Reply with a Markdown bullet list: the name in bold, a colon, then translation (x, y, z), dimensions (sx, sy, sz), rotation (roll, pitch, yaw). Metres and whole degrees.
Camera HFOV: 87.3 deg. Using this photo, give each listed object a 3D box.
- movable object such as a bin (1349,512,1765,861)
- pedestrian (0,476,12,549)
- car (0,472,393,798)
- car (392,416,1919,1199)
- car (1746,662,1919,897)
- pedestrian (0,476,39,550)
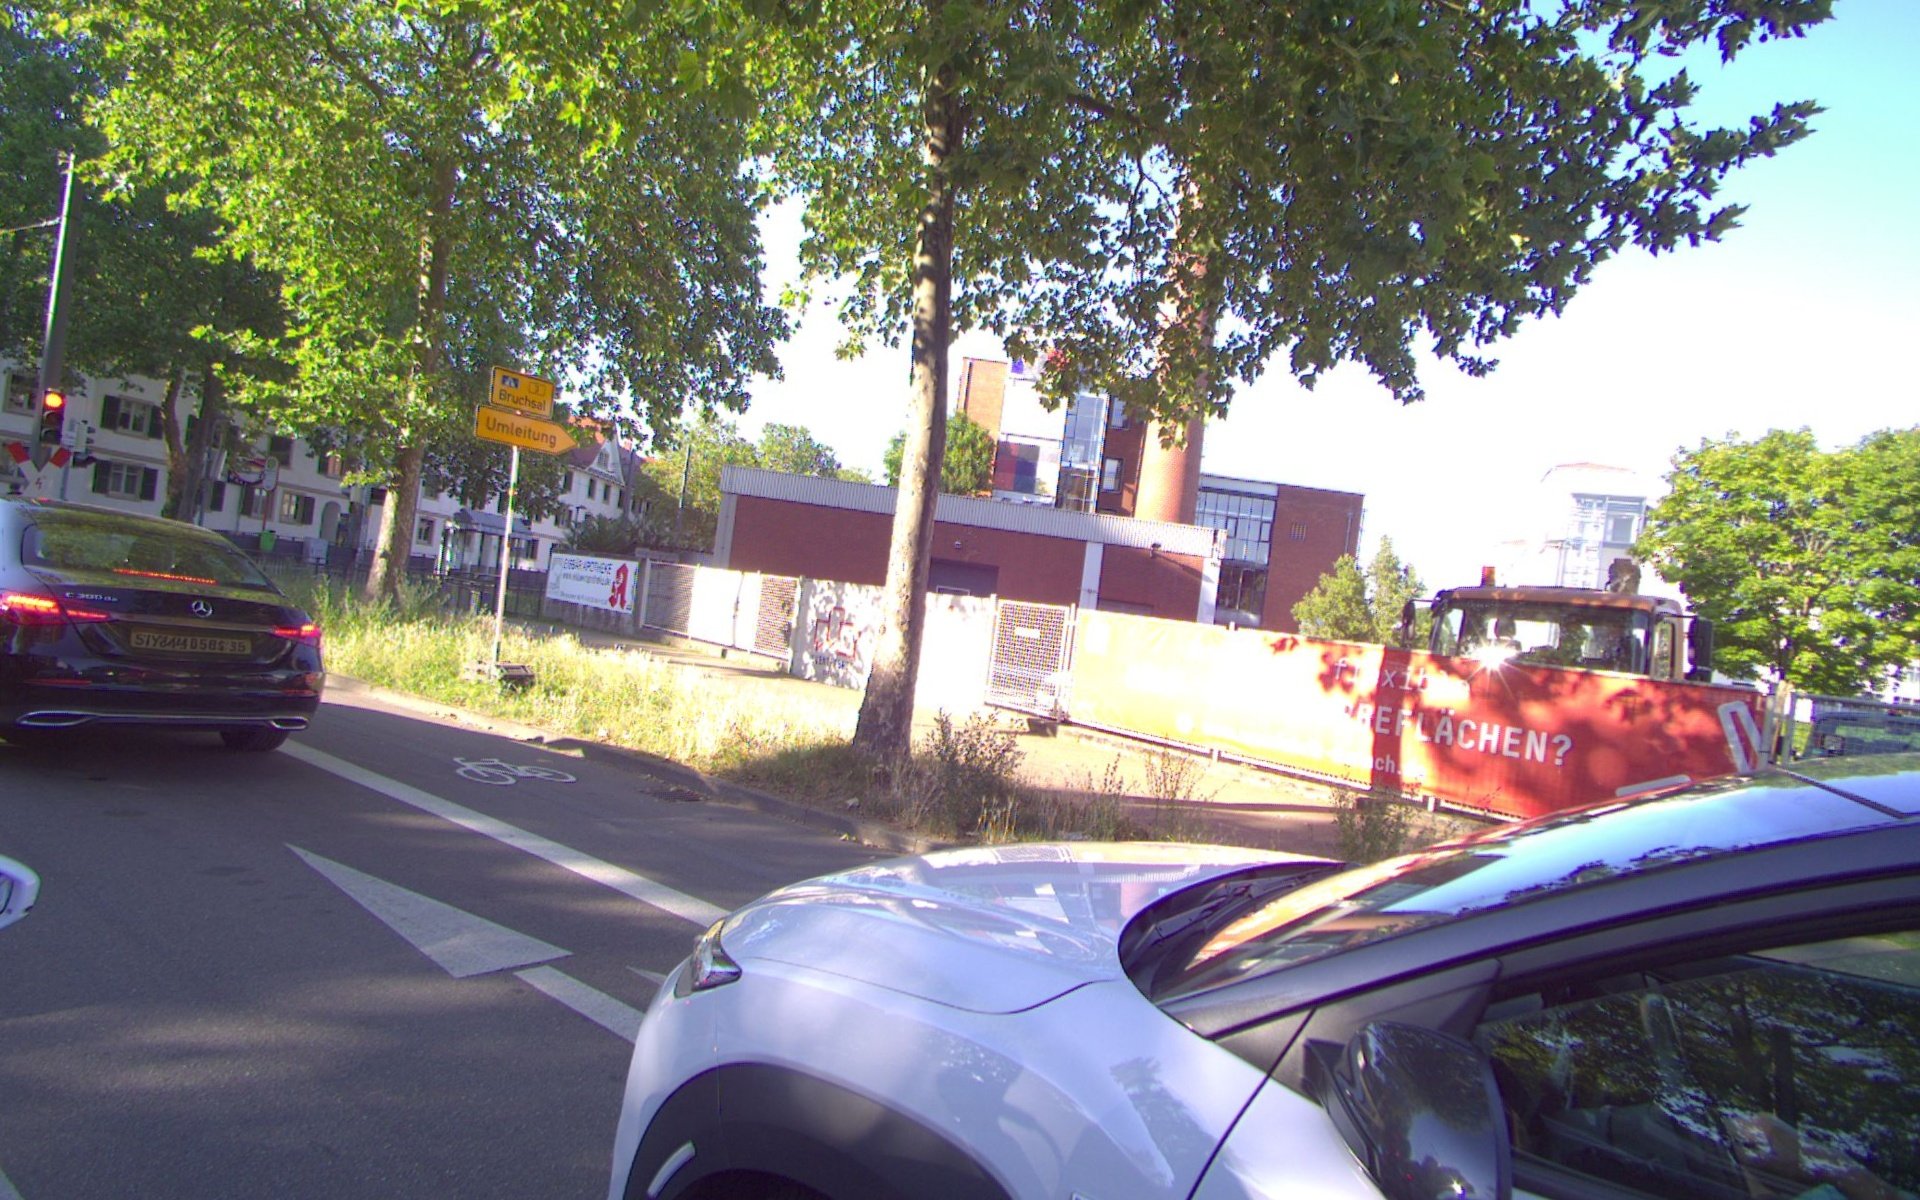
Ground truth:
- **movable object such as a bin**: translation (7.645, 1.033, 12.412), dimensions (3.172, 3.084, 6.266), rotation (6, -2, 41)
- **pedestrian**: translation (-26.118, -2.398, 26.917), dimensions (0.825, 1.940, 0.707), rotation (7, -1, 28)
- **car**: translation (-5.960, 0.008, 6.680), dimensions (4.309, 1.508, 1.893), rotation (9, -1, 33)
- **car**: translation (1.247, 0.852, 1.376), dimensions (3.901, 1.616, 1.893), rotation (9, -1, 33)
- **car**: translation (9.574, 1.823, 10.155), dimensions (2.016, 1.849, 4.583), rotation (6, -3, 44)
- **pedestrian**: translation (-26.520, -2.434, 28.137), dimensions (0.825, 1.940, 0.707), rotation (7, -1, 28)
